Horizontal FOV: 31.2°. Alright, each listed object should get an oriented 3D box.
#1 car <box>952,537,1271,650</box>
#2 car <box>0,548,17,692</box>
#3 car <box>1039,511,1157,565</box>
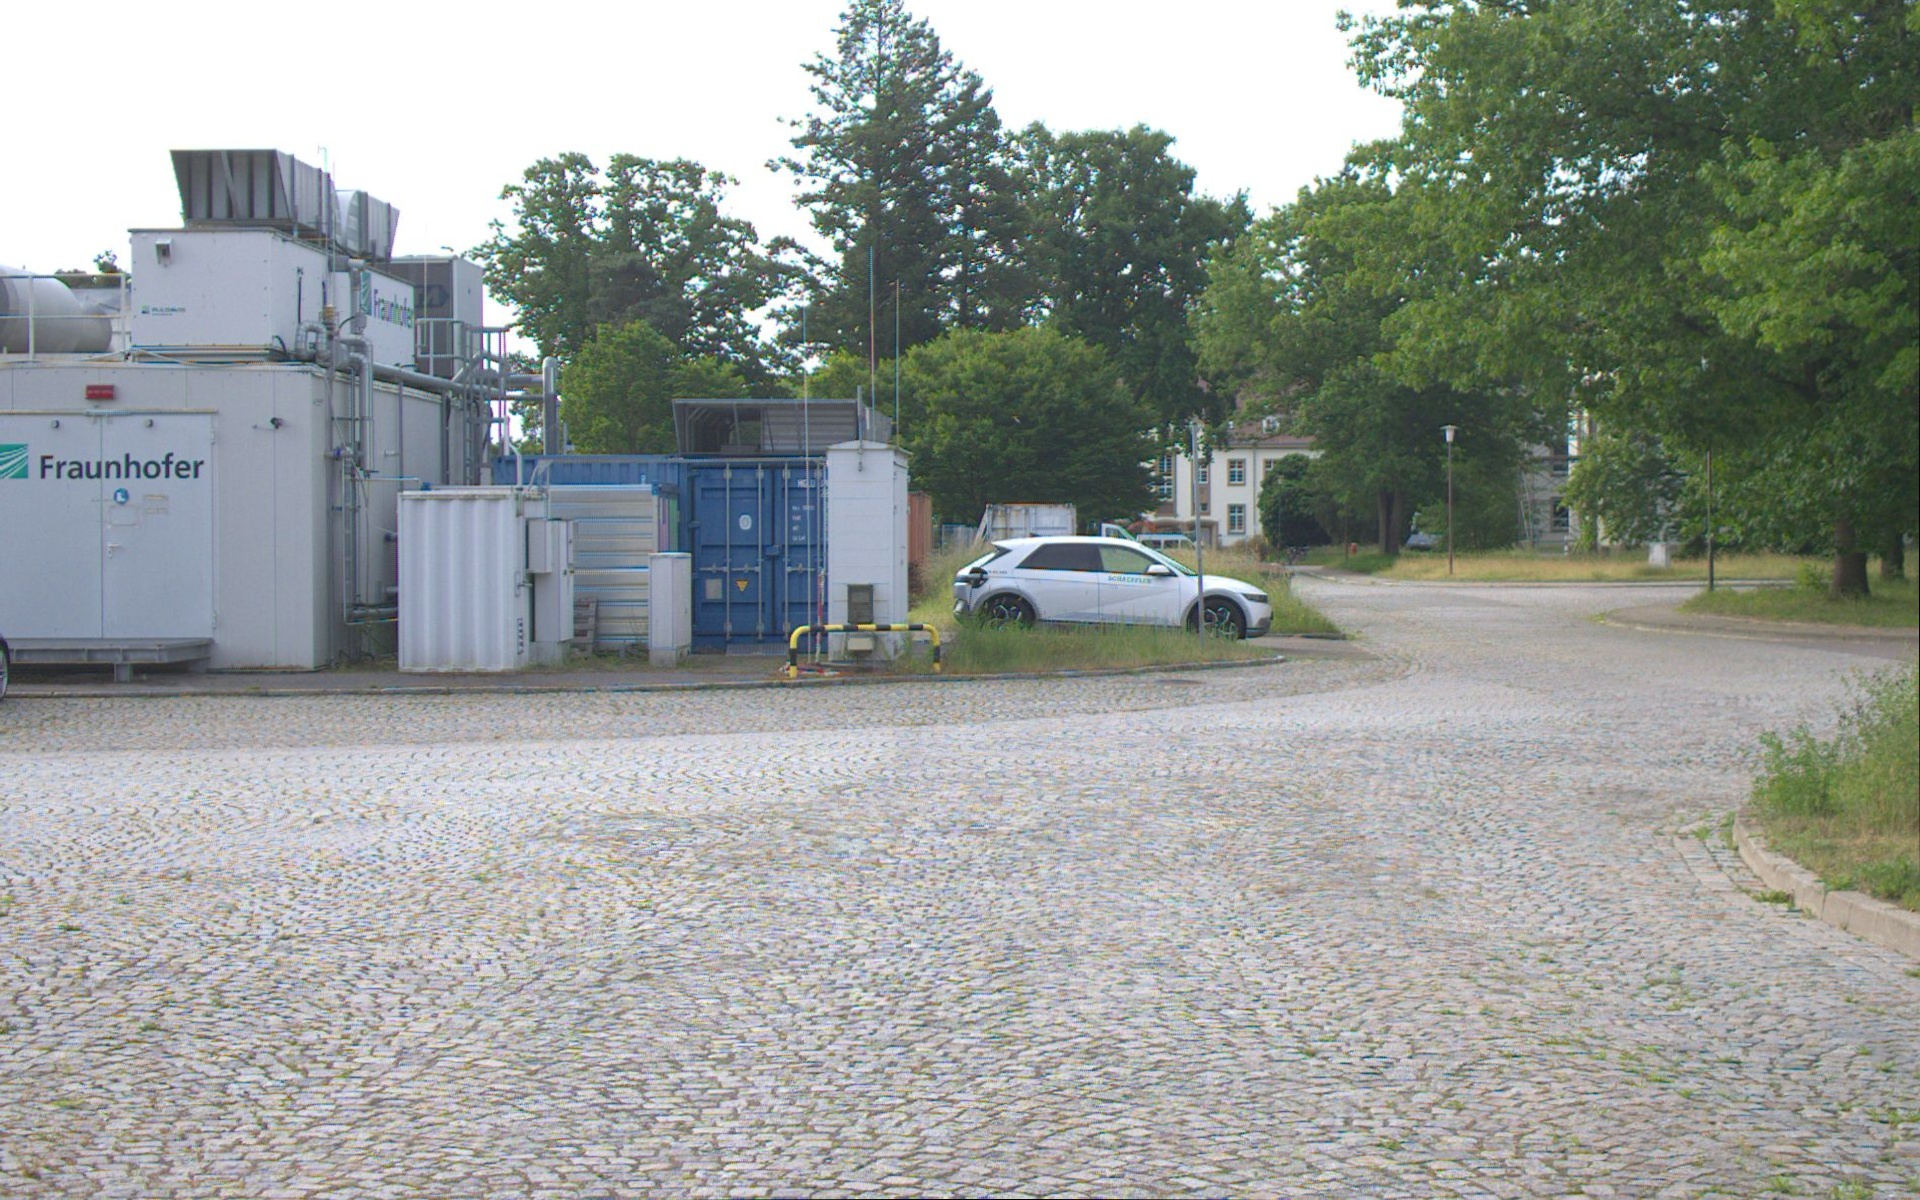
[{"bbox_3d":[2.232,-0.111,49.852,4.535,1.594,2.000,0,1,5],"label":"car"},{"bbox_3d":[-10.830,0.290,33.204,2.036,1.448,4.530,0,3,2],"label":"car"},{"bbox_3d":[6.071,-2.735,151.342,5.171,2.329,2.000,0,1,2],"label":"car"}]
